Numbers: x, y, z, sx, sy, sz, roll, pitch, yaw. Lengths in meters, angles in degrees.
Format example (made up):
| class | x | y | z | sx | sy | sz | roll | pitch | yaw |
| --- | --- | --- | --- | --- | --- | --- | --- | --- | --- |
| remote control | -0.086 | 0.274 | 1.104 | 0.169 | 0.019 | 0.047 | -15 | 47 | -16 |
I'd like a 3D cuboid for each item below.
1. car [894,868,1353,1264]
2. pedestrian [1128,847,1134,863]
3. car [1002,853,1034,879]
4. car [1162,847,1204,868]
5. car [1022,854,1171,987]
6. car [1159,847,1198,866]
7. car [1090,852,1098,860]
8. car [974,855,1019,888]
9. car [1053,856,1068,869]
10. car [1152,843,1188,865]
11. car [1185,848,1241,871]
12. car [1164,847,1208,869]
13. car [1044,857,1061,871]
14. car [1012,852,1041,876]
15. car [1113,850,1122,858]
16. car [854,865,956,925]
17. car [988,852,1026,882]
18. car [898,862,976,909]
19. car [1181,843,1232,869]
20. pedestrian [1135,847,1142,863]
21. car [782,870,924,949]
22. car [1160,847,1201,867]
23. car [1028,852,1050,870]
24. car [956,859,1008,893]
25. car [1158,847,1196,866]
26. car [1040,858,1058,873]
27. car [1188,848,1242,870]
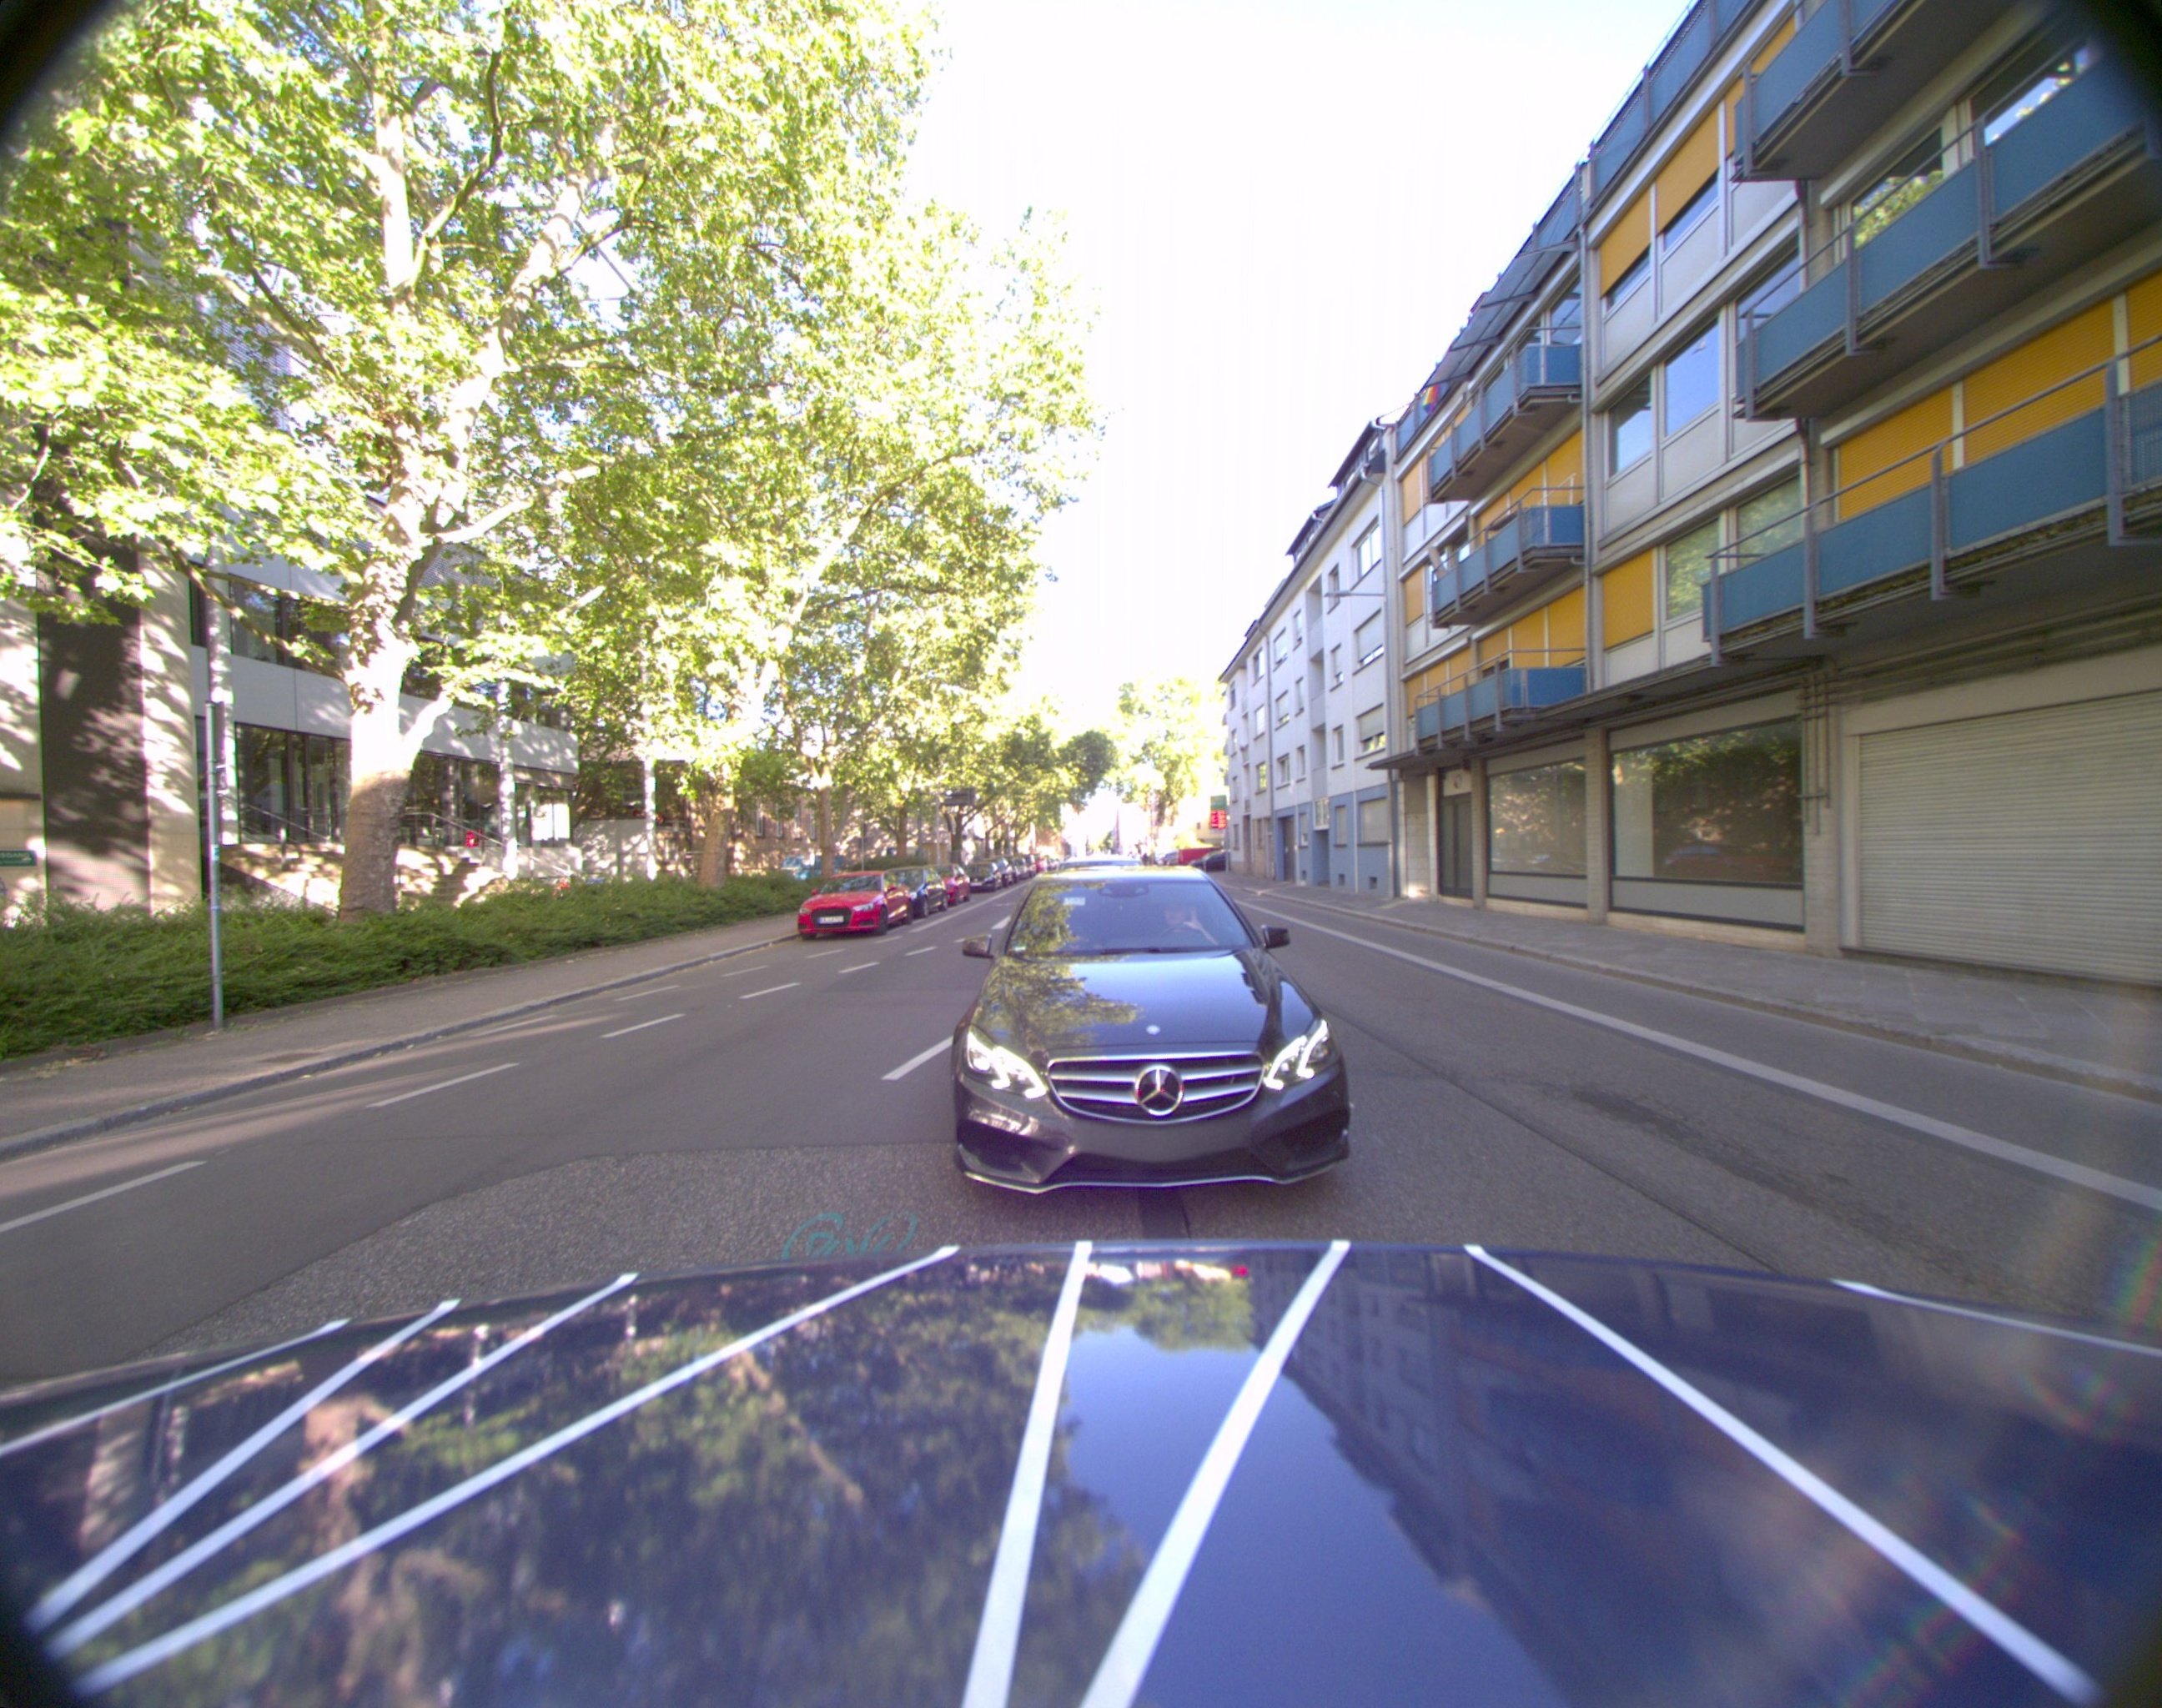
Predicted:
| class | x | y | z | sx | sy | sz | roll | pitch | yaw |
| --- | --- | --- | --- | --- | --- | --- | --- | --- | --- |
| car | 0.207 | 0.931 | 5.409 | 1.866 | 1.492 | 4.481 | -2 | 0 | 1 |
| pedestrian | 6.560 | 0.147 | 100.241 | 0.735 | 2.002 | 0.797 | -2 | 1 | 1 |
| car | -4.502 | 0.817 | 54.801 | 1.866 | 1.749 | 4.481 | -2 | 0 | 1 |
| car | 10.332 | 0.342 | 77.148 | 3.996 | 1.936 | 2.000 | -2 | 1 | 2 |
| car | 0.227 | 0.856 | 11.932 | 1.866 | 1.630 | 4.303 | -2 | 0 | 1 |
| car | 10.590 | 0.273 | 82.488 | 3.996 | 1.936 | 2.000 | -2 | 1 | 2 |
| car | 2.853 | 0.341 | 167.147 | 1.866 | 1.632 | 4.481 | -2 | 0 | 1 |
| car | -4.619 | 0.905 | 42.208 | 1.866 | 1.658 | 4.481 | -2 | 0 | 1 |
| car | -2.823 | 1.109 | 105.192 | 1.866 | 1.632 | 4.481 | -2 | 0 | 1 |
| car | 10.489 | 0.001 | 89.509 | 3.996 | 2.505 | 2.000 | -2 | 1 | 2 |
| car | 10.175 | 0.422 | 58.873 | 3.996 | 1.543 | 2.000 | -2 | 1 | 2 |
| car | 10.248 | 0.375 | 74.507 | 3.996 | 1.936 | 2.000 | -2 | 1 | 2 |
| car | -3.655 | 1.234 | 96.785 | 1.866 | 1.632 | 4.481 | -2 | 0 | 1 |
| car | -4.244 | 0.754 | 59.757 | 1.866 | 1.749 | 4.481 | -2 | 0 | 1 |
| car | 8.175 | -0.069 | 172.471 | 1.866 | 1.632 | 4.481 | -2 | 0 | 1 |
| car | -5.041 | 1.122 | 22.383 | 1.866 | 1.442 | 4.481 | -2 | 0 | 1 |
| car | -4.631 | 0.782 | 48.135 | 1.866 | 1.749 | 4.481 | -2 | 0 | 1 |
| car | -5.086 | 1.064 | 27.427 | 1.866 | 1.442 | 4.481 | -2 | 0 | 1 |
| car | 10.549 | 0.153 | 64.026 | 3.996 | 1.936 | 2.000 | -2 | 1 | 2 |
| pedestrian | 7.565 | 0.140 | 100.452 | 0.735 | 2.002 | 1.046 | -2 | 1 | 0 |
| car | -5.102 | 1.176 | 17.732 | 1.866 | 1.442 | 4.481 | -2 | 0 | 1 |
| car | 10.461 | 0.306 | 79.999 | 3.996 | 1.936 | 2.000 | -2 | 1 | 2 |
| car | -4.198 | 0.703 | 76.280 | 1.866 | 1.632 | 4.481 | -2 | 0 | 1 |
| car | -4.754 | 1.023 | 37.174 | 1.866 | 1.442 | 4.481 | -2 | 0 | 1 |
| car | 10.736 | 0.239 | 84.982 | 3.996 | 1.936 | 2.000 | -2 | 1 | 2 |
| car | -3.765 | 1.319 | 89.986 | 1.866 | 1.632 | 4.481 | -2 | 0 | 1 |
| car | 10.717 | 0.375 | 61.195 | 3.996 | 1.543 | 2.000 | -2 | 1 | 2 |
